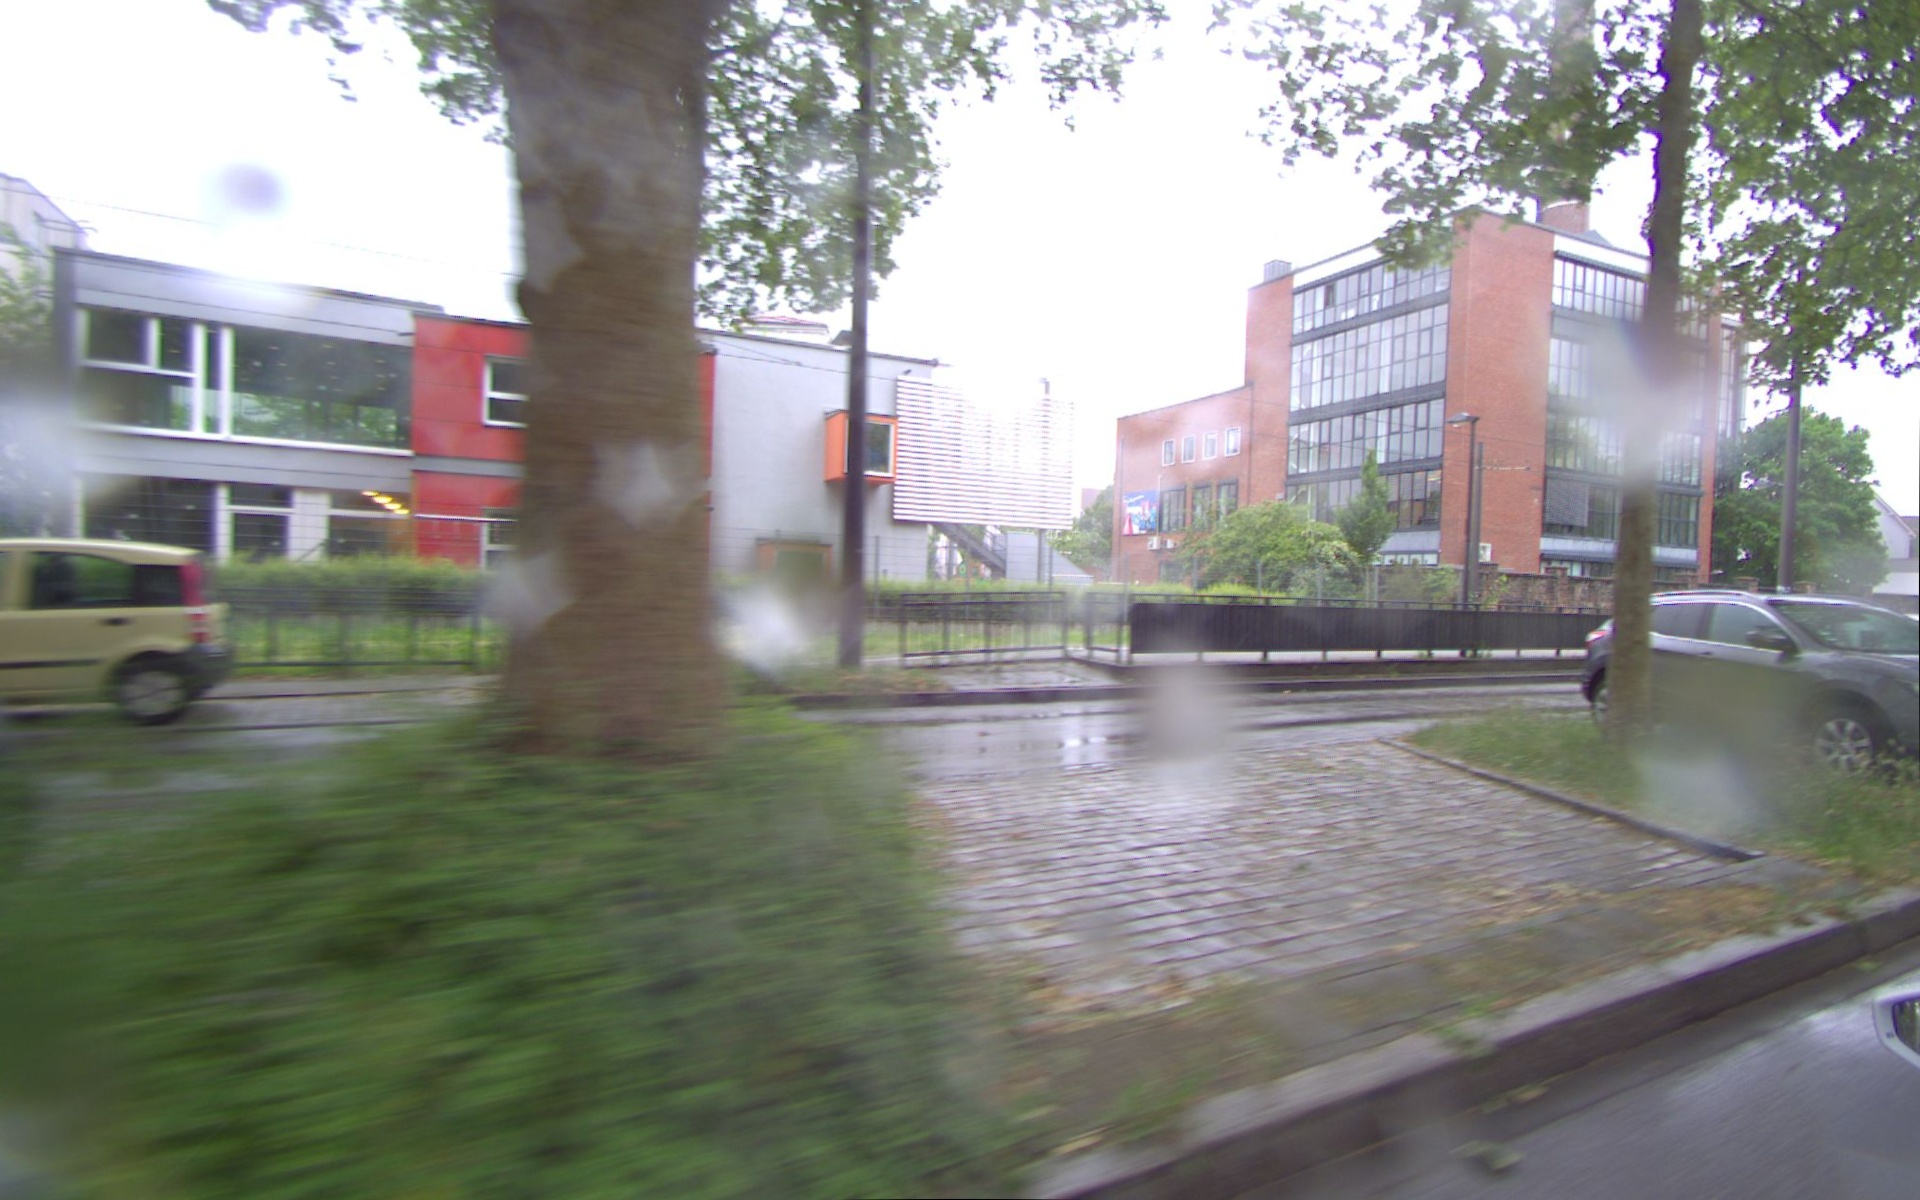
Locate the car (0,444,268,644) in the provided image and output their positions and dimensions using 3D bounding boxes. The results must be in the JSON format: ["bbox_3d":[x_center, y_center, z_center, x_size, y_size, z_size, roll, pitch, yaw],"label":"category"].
[{"bbox_3d":[-8.385,-0.508,8.502,3.954,1.528,1.984,3,1,-31],"label":"car"}]

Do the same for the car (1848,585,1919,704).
[{"bbox_3d":[14.947,0.651,13.590,1.922,1.737,4.533,0,0,1],"label":"car"}]

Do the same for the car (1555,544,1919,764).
[{"bbox_3d":[7.891,0.383,9.252,1.886,1.618,4.470,2,1,-4],"label":"car"}]

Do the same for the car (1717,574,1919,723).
[{"bbox_3d":[10.928,0.540,11.004,1.885,1.541,4.561,2,0,2],"label":"car"}]

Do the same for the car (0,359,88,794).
[{"bbox_3d":[-4.275,-0.114,1.986,1.688,1.541,3.818,2,0,1],"label":"car"}]
